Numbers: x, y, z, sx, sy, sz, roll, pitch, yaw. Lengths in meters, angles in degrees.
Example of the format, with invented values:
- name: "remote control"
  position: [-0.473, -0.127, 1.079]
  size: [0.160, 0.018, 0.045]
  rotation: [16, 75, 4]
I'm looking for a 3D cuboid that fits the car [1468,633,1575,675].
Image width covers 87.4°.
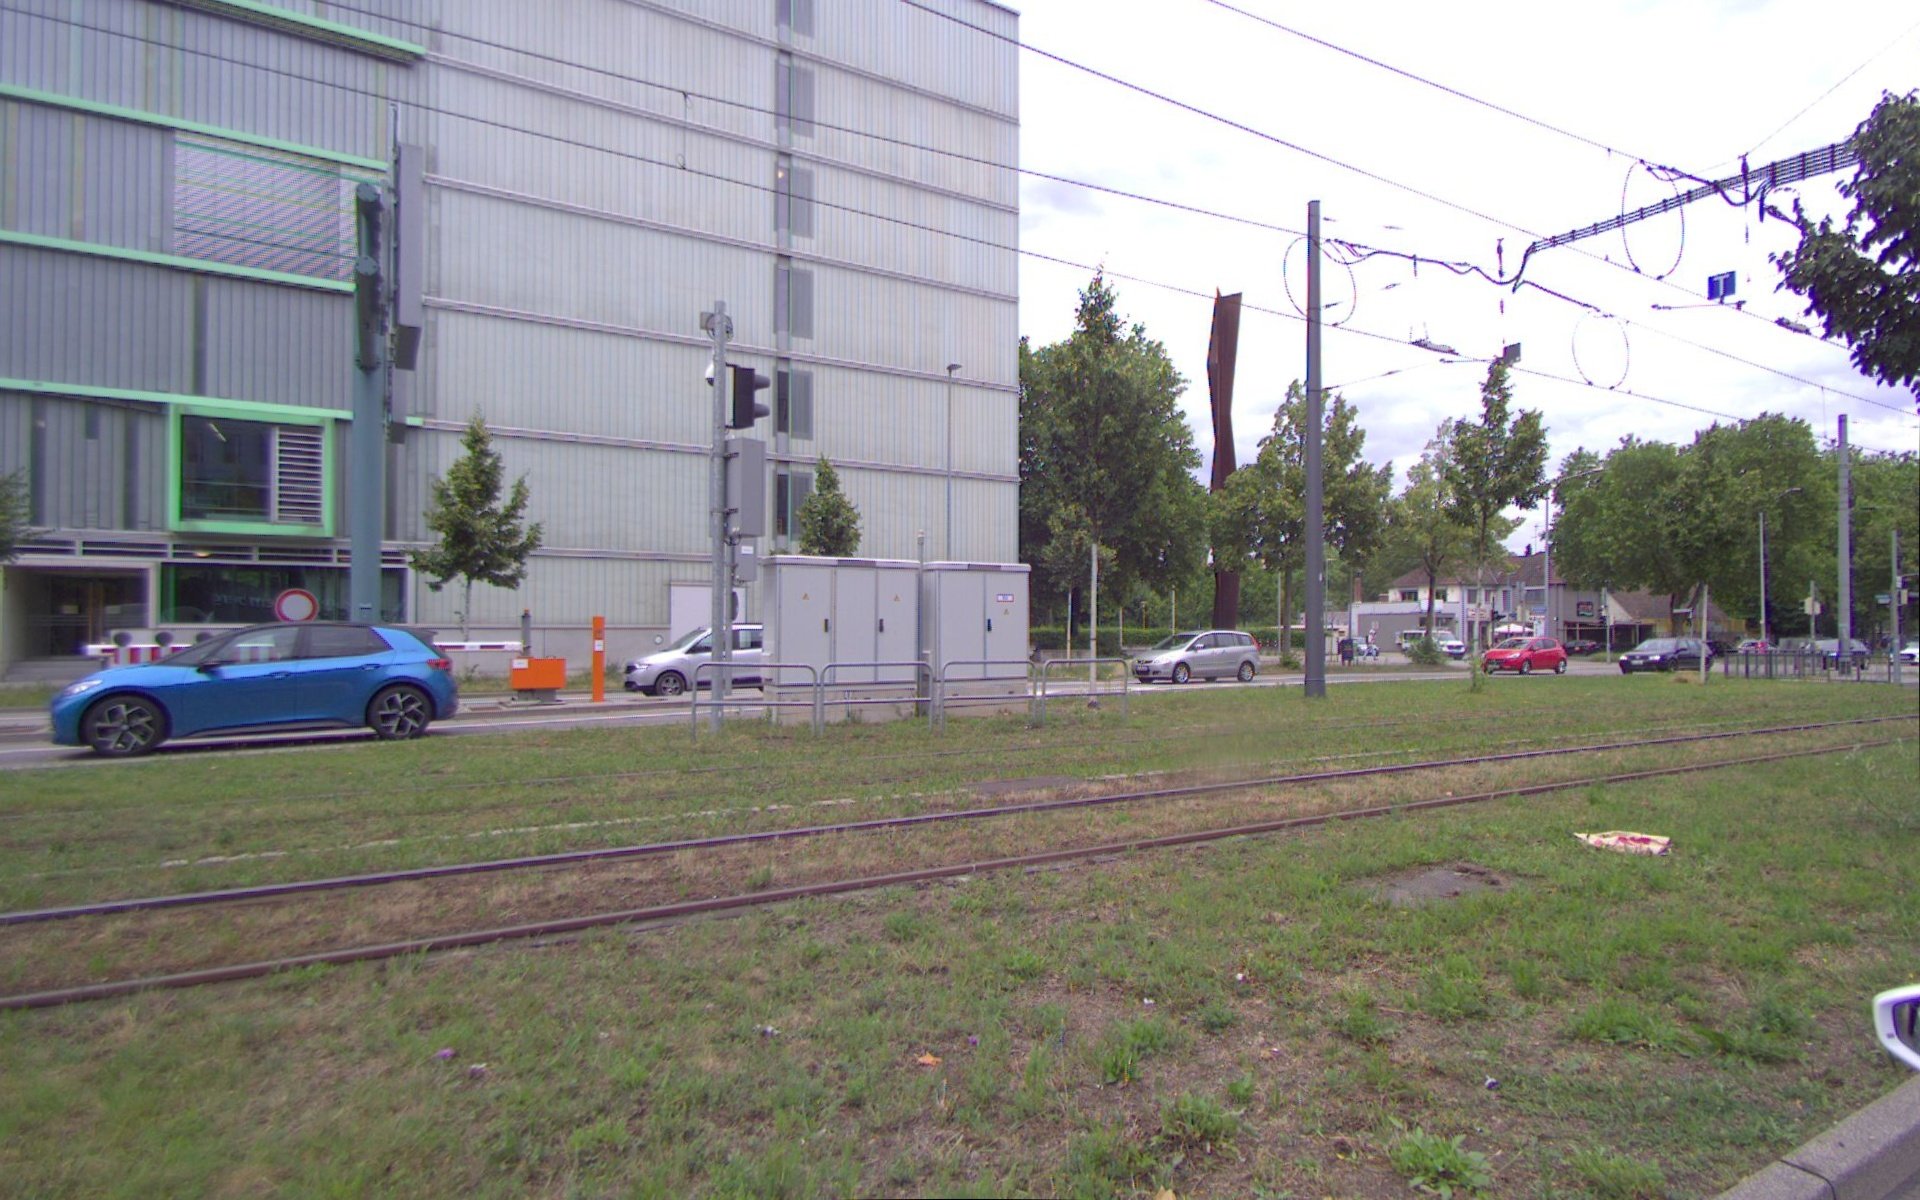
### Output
- name: "car"
  position: [22.563, 2.135, 40.354]
  size: [4.275, 1.591, 1.788]
  rotation: [1, -1, -29]

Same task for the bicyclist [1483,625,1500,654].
- name: "bicyclist"
  position: [32.895, 2.451, 62.159]
  size: [0.838, 1.744, 0.719]
  rotation: [0, -1, 34]

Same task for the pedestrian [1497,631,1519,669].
- name: "pedestrian"
  position: [26.831, 2.431, 49.175]
  size: [0.769, 1.856, 0.771]
  rotation: [-1, -1, 43]

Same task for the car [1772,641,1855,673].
- name: "car"
  position: [39.588, 2.603, 46.567]
  size: [4.011, 1.395, 1.792]
  rotation: [1, -2, -31]

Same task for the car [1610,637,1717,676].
- name: "car"
  position: [27.242, 2.160, 38.874]
  size: [4.692, 1.445, 1.655]
  rotation: [1, -3, -32]

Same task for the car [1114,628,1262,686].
- name: "car"
  position: [7.072, 1.705, 30.992]
  size: [4.623, 1.665, 1.711]
  rotation: [1, -2, -33]

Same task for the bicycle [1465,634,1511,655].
- name: "bicycle"
  position: [32.710, 2.746, 62.285]
  size: [2.474, 1.218, 0.738]
  rotation: [-1, -1, 35]

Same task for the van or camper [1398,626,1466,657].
- name: "van or camper"
  position: [32.413, 2.788, 69.181]
  size: [2.416, 2.040, 5.283]
  rotation: [0, -1, 2]

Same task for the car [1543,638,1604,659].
- name: "car"
  position: [54.969, 4.328, 90.089]
  size: [2.078, 1.840, 4.268]
  rotation: [1, -1, -25]

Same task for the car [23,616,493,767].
- name: "car"
  position: [-8.739, 1.027, 12.971]
  size: [4.642, 1.609, 1.951]
  rotation: [1, -1, -36]

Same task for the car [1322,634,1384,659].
- name: "car"
  position: [30.466, 3.564, 77.918]
  size: [2.078, 1.840, 4.268]
  rotation: [1, -1, -25]

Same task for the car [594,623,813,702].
- name: "car"
  position: [-5.828, 1.404, 23.013]
  size: [4.526, 1.591, 1.787]
  rotation: [2, 0, -31]

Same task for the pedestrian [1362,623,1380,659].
- name: "pedestrian"
  position: [23.329, 2.303, 57.061]
  size: [0.887, 2.040, 0.954]
  rotation: [0, -1, 18]

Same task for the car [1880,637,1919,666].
- name: "car"
  position: [55.408, 2.936, 58.174]
  size: [5.018, 1.609, 1.802]
  rotation: [1, -1, -31]
